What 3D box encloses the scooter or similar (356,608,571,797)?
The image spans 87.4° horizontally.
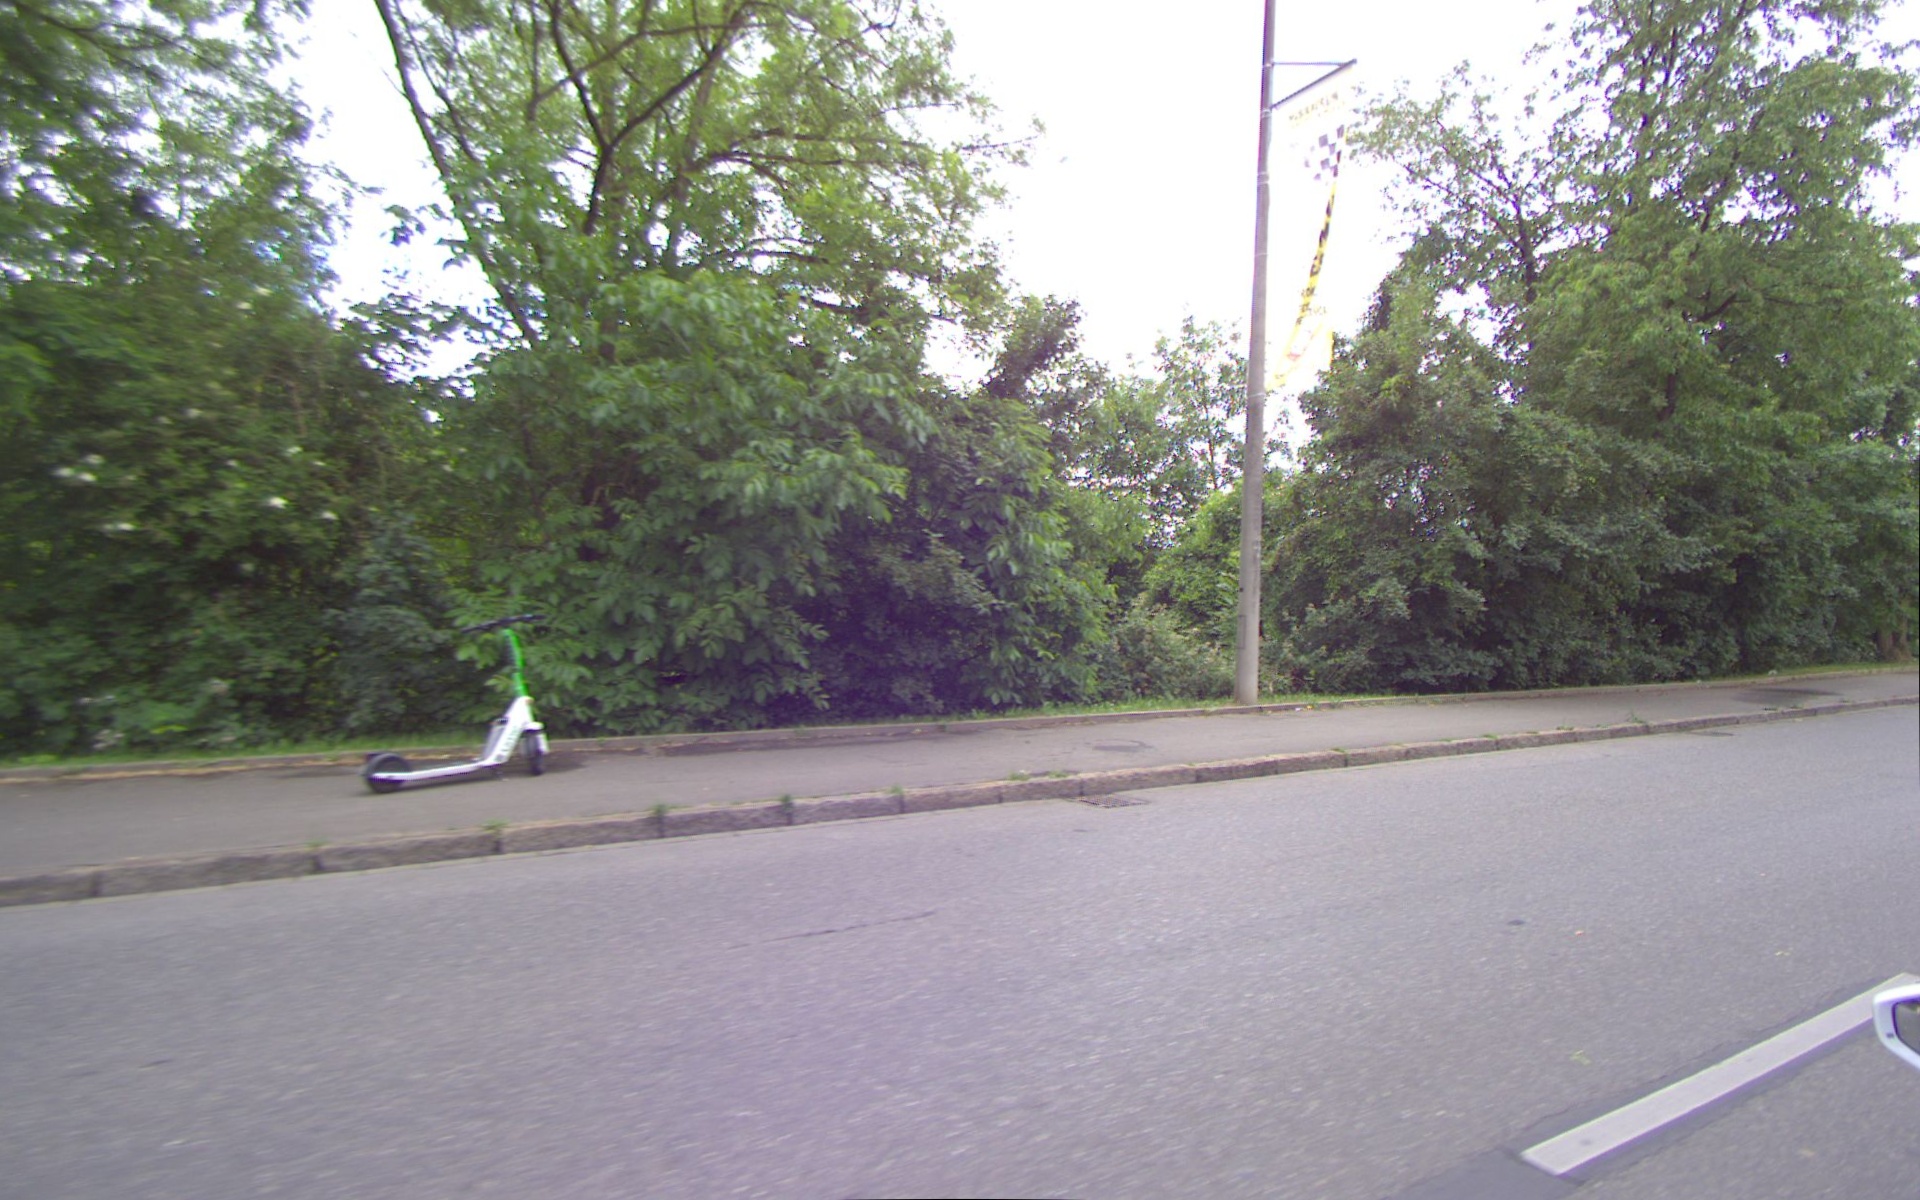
[{"bbox_3d":[-3.439,0.667,7.025,1.289,1.200,0.361,0,2,-44],"label":"scooter or similar"}]
